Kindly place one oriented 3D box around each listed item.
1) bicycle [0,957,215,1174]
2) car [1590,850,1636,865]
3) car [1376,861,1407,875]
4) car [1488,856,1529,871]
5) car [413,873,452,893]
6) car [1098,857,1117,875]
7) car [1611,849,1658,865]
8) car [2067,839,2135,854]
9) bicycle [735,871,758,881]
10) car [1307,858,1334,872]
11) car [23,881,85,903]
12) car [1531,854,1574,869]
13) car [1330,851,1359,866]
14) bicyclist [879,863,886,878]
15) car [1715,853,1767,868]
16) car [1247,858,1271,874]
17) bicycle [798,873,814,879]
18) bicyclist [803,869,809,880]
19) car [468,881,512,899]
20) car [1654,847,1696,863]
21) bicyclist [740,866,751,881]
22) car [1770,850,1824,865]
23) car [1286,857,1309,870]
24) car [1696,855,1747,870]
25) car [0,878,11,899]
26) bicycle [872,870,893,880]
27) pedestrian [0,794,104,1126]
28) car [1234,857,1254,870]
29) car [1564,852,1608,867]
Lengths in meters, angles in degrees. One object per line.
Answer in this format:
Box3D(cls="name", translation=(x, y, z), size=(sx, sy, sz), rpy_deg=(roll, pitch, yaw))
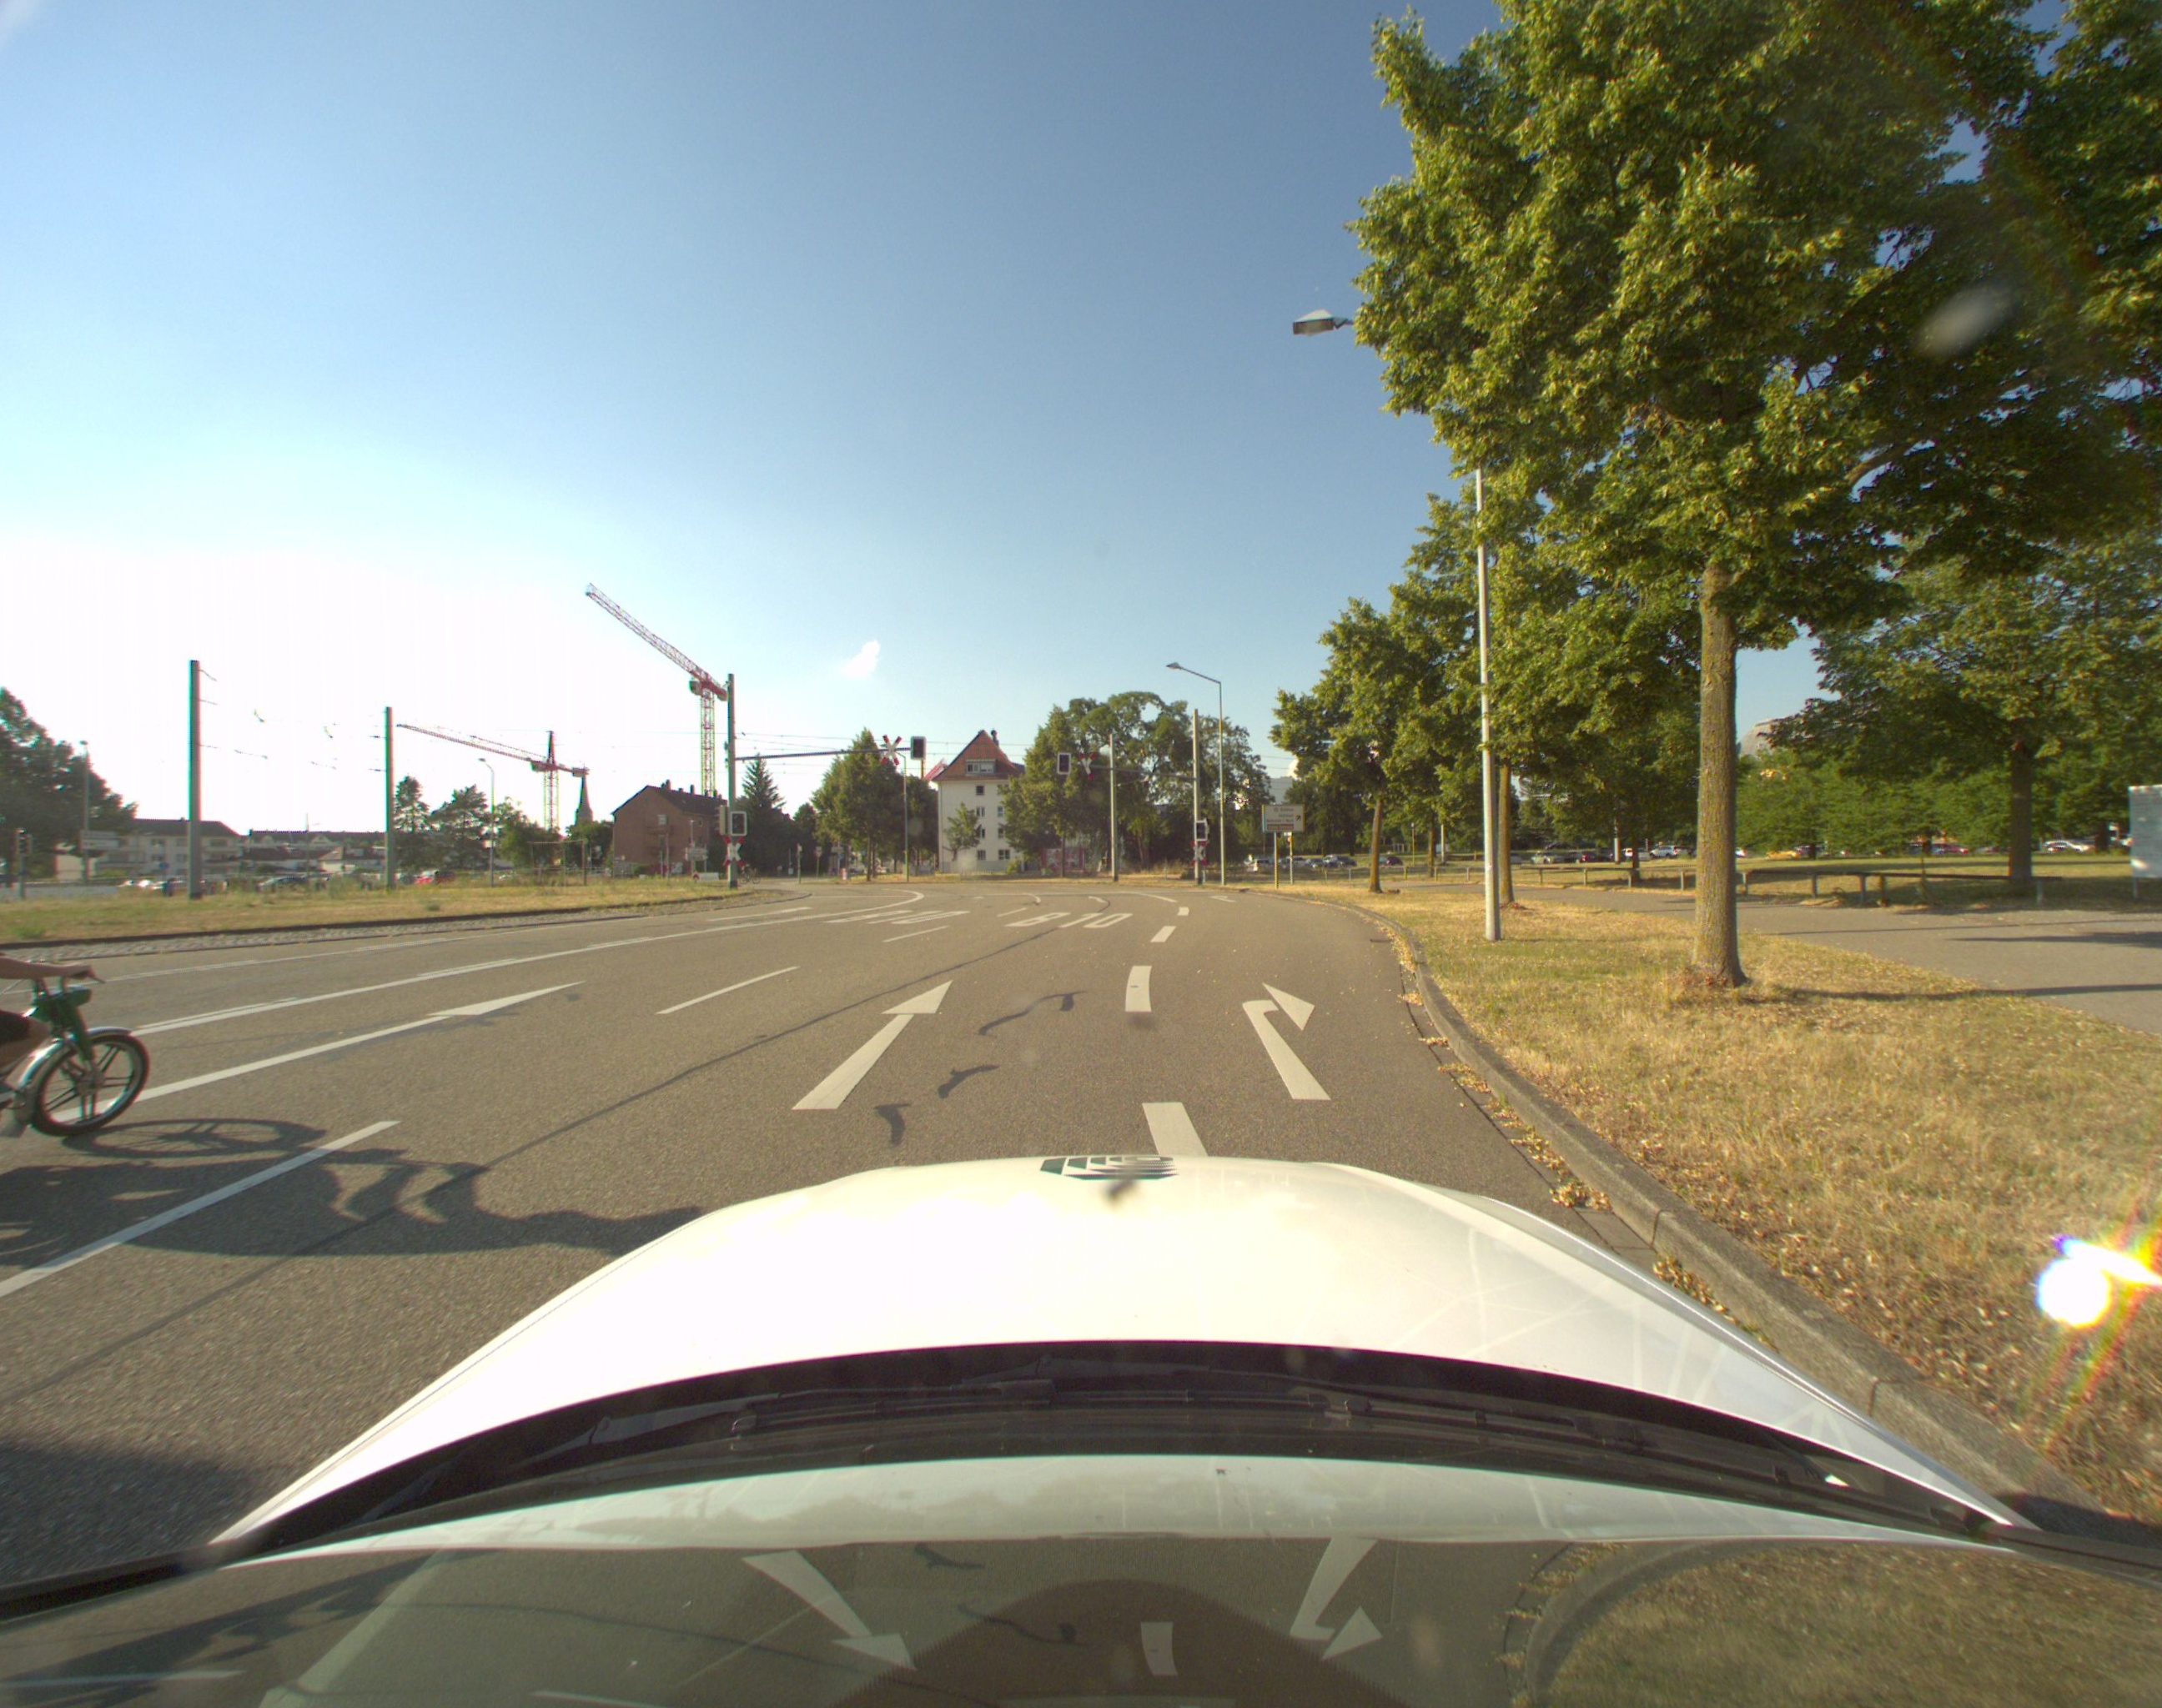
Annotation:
Box3D(cls="bicycle", translation=(-5.333, 1.061, 3.992), size=(0.478, 0.876, 1.849), rpy_deg=(-1, 0, -10))
Box3D(cls="car", translation=(52.383, 0.328, 80.232), size=(1.817, 1.403, 3.996), rpy_deg=(-1, -1, -2))
Box3D(cls="car", translation=(30.066, 1.381, 78.902), size=(1.595, 1.310, 3.971), rpy_deg=(-1, -1, 2))
Box3D(cls="car", translation=(41.977, 0.954, 80.055), size=(1.817, 1.403, 3.996), rpy_deg=(-1, -1, -2))
Box3D(cls="car", translation=(-65.115, 2.914, 81.755), size=(3.948, 1.854, 1.938), rpy_deg=(-1, 0, 34))
Box3D(cls="car", translation=(2.573, 1.155, 77.828), size=(1.764, 1.618, 3.971), rpy_deg=(-1, -1, 2))
Box3D(cls="car", translation=(54.798, 0.320, 80.647), size=(1.817, 1.403, 3.996), rpy_deg=(-1, -1, -2))
Box3D(cls="car", translation=(103.430, -0.769, 82.604), size=(1.817, 1.403, 3.996), rpy_deg=(-1, -1, -2))
Box3D(cls="bicycle", translation=(-31.174, 2.071, 75.913), size=(2.001, 0.825, 0.426), rpy_deg=(-1, 0, -32))
Box3D(cls="car", translation=(23.248, 1.077, 79.177), size=(1.595, 1.221, 3.971), rpy_deg=(-1, -1, 2))
Box3D(cls="car", translation=(-100.685, 3.746, 79.836), size=(3.965, 2.013, 2.004), rpy_deg=(-1, 0, 7))
Box3D(cls="car", translation=(46.623, 0.760, 80.660), size=(1.817, 1.403, 3.996), rpy_deg=(-1, -1, -2))
Box3D(cls="car", translation=(25.510, 0.478, 78.925), size=(1.595, 1.402, 3.971), rpy_deg=(-1, -1, 2))
Box3D(cls="bicyclist", translation=(-19.966, 1.656, 81.857), size=(0.626, 1.511, 0.414), rpy_deg=(-1, -1, -32))
Box3D(cls="car", translation=(65.842, 0.651, 81.332), size=(1.817, 1.403, 3.996), rpy_deg=(-1, -1, -2))
Box3D(cls="car", translation=(17.308, 1.173, 79.176), size=(1.595, 1.402, 3.971), rpy_deg=(-1, -1, 2))
Box3D(cls="bicycle", translation=(-40.178, 3.214, 119.043), size=(2.106, 0.963, 0.594), rpy_deg=(-1, -1, -21))
Box3D(cls="bicyclist", translation=(-40.223, 3.045, 119.087), size=(0.893, 1.562, 0.656), rpy_deg=(-1, -1, -17))
Box3D(cls="car", translation=(-70.426, 4.237, 97.090), size=(3.806, 2.014, 1.667), rpy_deg=(-1, -1, -8))
Box3D(cls="car", translation=(67.576, 0.098, 92.697), size=(1.817, 1.672, 3.996), rpy_deg=(-1, -1, -2))
Box3D(cls="bicyclist", translation=(-31.272, 1.792, 75.895), size=(0.903, 1.396, 0.520), rpy_deg=(-1, 0, -32))
Box3D(cls="car", translation=(71.560, 0.397, 81.447), size=(1.817, 1.403, 3.996), rpy_deg=(-1, -1, -2))
Box3D(cls="car", translation=(24.056, 1.039, 90.673), size=(1.595, 1.402, 3.971), rpy_deg=(-1, -1, 2))
Box3D(cls="car", translation=(63.368, 0.835, 80.617), size=(1.817, 1.403, 3.996), rpy_deg=(-1, -1, -2))
Box3D(cls="car", translation=(-109.354, 3.497, 80.903), size=(3.965, 2.013, 2.004), rpy_deg=(-1, 0, 7))
Box3D(cls="bicycle", translation=(-19.944, 2.135, 81.868), size=(2.001, 0.918, 0.426), rpy_deg=(-1, 0, -32))
Box3D(cls="pedestrian", translation=(-5.280, 0.490, 3.710), size=(0.656, 1.519, 0.851), rpy_deg=(-1, 0, -11))
Box3D(cls="car", translation=(18.238, 1.053, 91.322), size=(1.595, 1.402, 3.971), rpy_deg=(-1, -1, 2))
Box3D(cls="car", translation=(49.635, 0.601, 80.140), size=(1.817, 1.403, 3.996), rpy_deg=(-1, -1, -2))
